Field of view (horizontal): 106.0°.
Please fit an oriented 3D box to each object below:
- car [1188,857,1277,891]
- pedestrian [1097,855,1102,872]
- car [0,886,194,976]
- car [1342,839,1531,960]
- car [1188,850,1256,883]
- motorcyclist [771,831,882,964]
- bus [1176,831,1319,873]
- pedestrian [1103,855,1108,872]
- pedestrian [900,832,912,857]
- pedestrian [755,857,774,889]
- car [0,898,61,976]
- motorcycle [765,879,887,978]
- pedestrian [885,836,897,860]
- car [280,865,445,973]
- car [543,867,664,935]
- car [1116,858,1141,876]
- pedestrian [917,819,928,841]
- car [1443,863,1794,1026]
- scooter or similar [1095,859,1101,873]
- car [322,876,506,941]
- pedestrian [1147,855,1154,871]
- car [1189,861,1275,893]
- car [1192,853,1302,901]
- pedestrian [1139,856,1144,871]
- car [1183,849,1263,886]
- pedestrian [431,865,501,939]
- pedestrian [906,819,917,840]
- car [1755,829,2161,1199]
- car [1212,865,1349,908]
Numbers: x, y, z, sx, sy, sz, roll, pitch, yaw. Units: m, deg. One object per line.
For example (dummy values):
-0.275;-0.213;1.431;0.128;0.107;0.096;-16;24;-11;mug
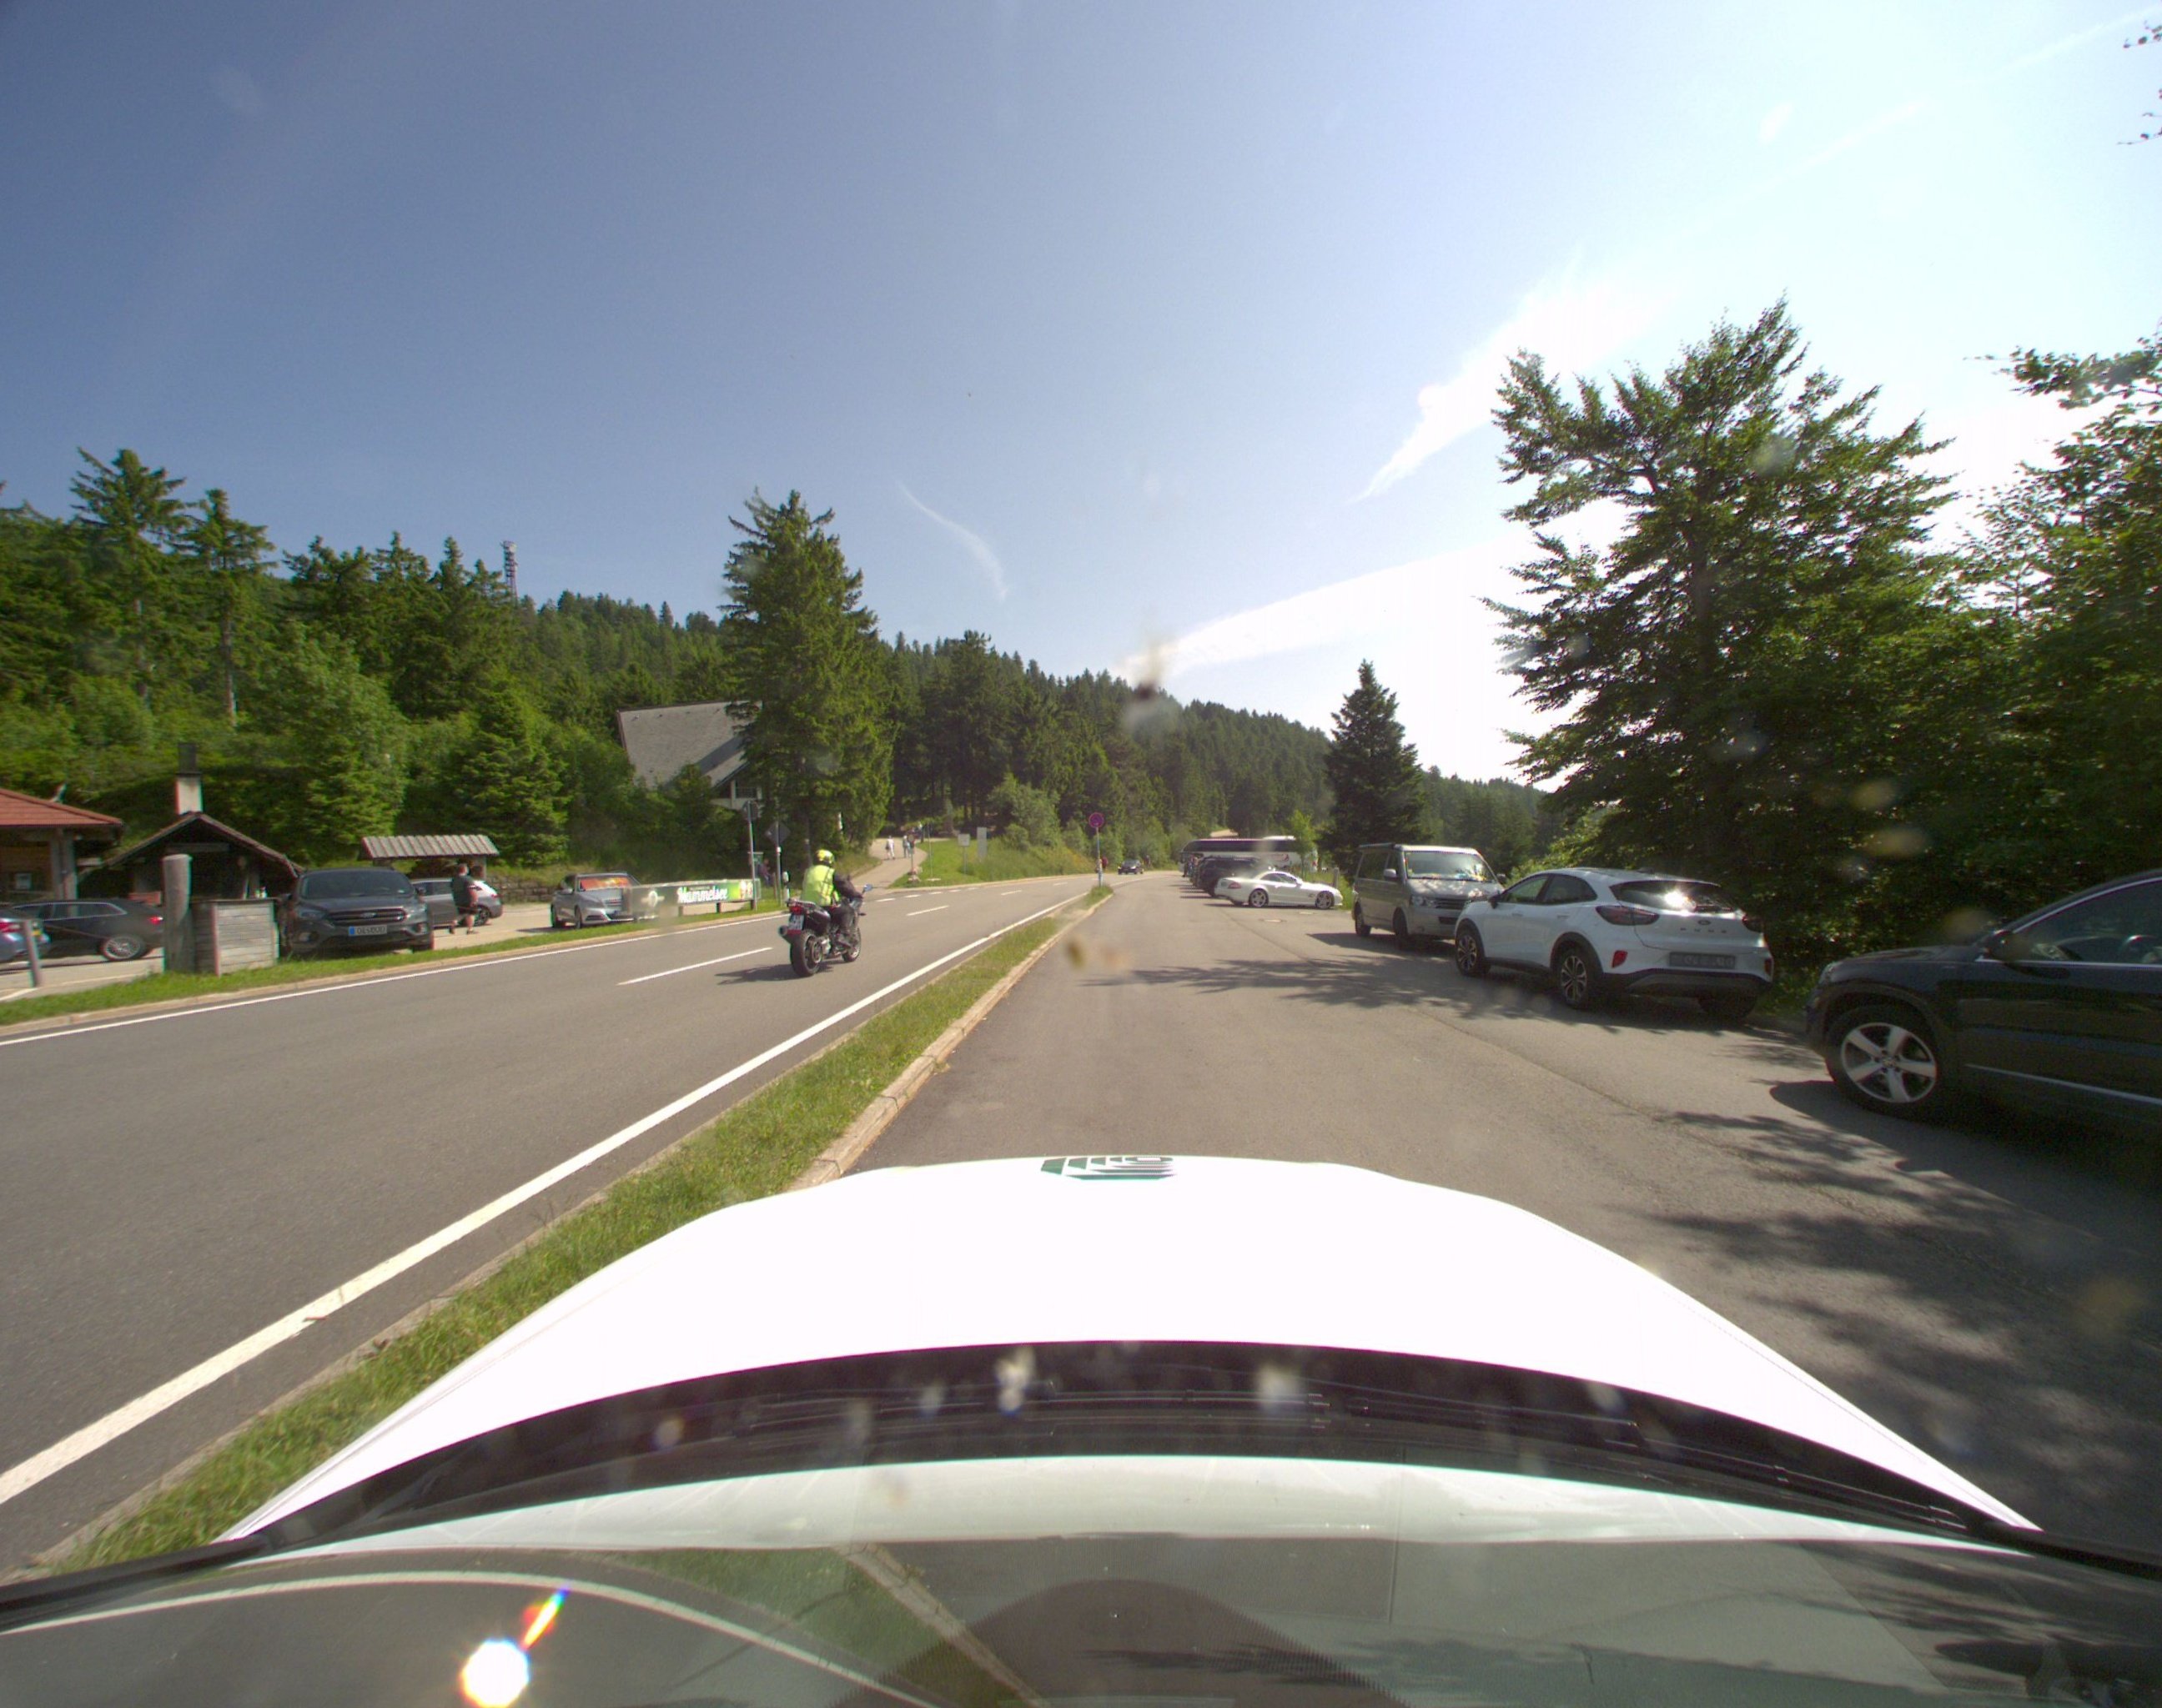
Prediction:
7.332;0.953;39.770;3.971;1.453;2.002;2;2;2;car
1.878;0.989;83.211;0.413;1.747;0.457;-3;1;3;pedestrian
-22.387;1.673;17.618;4.021;1.617;1.976;-4;2;-40;car
6.821;0.768;16.277;1.896;1.972;4.825;2;0;4;car
8.723;0.743;50.651;3.968;1.814;1.943;2;2;5;car
-3.392;0.564;10.998;1.021;1.675;1.294;-1;-1;3;motorcyclist
15.606;-0.151;76.548;12.753;3.577;2.997;-1;2;20;bus
2.459;0.971;82.675;0.393;1.747;0.406;-3;1;3;pedestrian
-12.541;-0.668;58.346;0.651;1.799;0.642;-2;-1;-3;pedestrian
-15.528;0.921;39.979;0.574;1.532;0.553;-3;1;3;pedestrian
-21.853;1.690;14.682;4.022;1.419;1.664;-4;0;-41;car
-3.391;0.948;11.106;0.818;1.177;2.288;-1;-1;3;motorcycle
-13.461;-0.419;57.614;0.651;1.667;0.642;-3;-2;-3;pedestrian
-13.042;1.076;14.689;4.157;1.634;1.800;-2;-1;43;car
-12.195;1.148;20.689;1.754;1.441;3.921;-4;1;-43;car
4.805;1.262;82.257;1.981;1.662;4.012;-2;0;10;car
-15.011;-2.296;77.156;0.814;2.013;0.852;-3;1;-5;pedestrian
6.118;0.905;9.929;1.673;1.518;4.051;2;-1;2;car
1.695;1.198;82.567;0.481;1.379;0.818;-3;1;3;scooter or similar
-19.837;1.552;24.354;1.663;1.494;4.025;0;3;43;car
8.858;1.134;103.905;0.729;2.014;0.863;-3;-2;3;pedestrian
6.782;1.035;36.849;3.622;1.303;1.642;1;2;2;car
6.729;0.905;33.239;3.980;1.699;1.997;2;1;-5;car
7.822;1.216;105.071;0.620;1.900;0.655;-3;-2;3;pedestrian
7.528;0.711;43.537;3.970;1.719;1.869;2;2;3;car
-15.463;1.182;20.493;0.892;1.734;0.961;-3;1;3;pedestrian
-16.144;-2.318;77.537;0.796;2.013;0.938;-3;1;-5;pedestrian
5.666;0.741;3.718;1.736;1.632;4.312;2;0;3;car
7.031;1.148;28.777;4.458;1.298;1.575;3;0;-13;car
